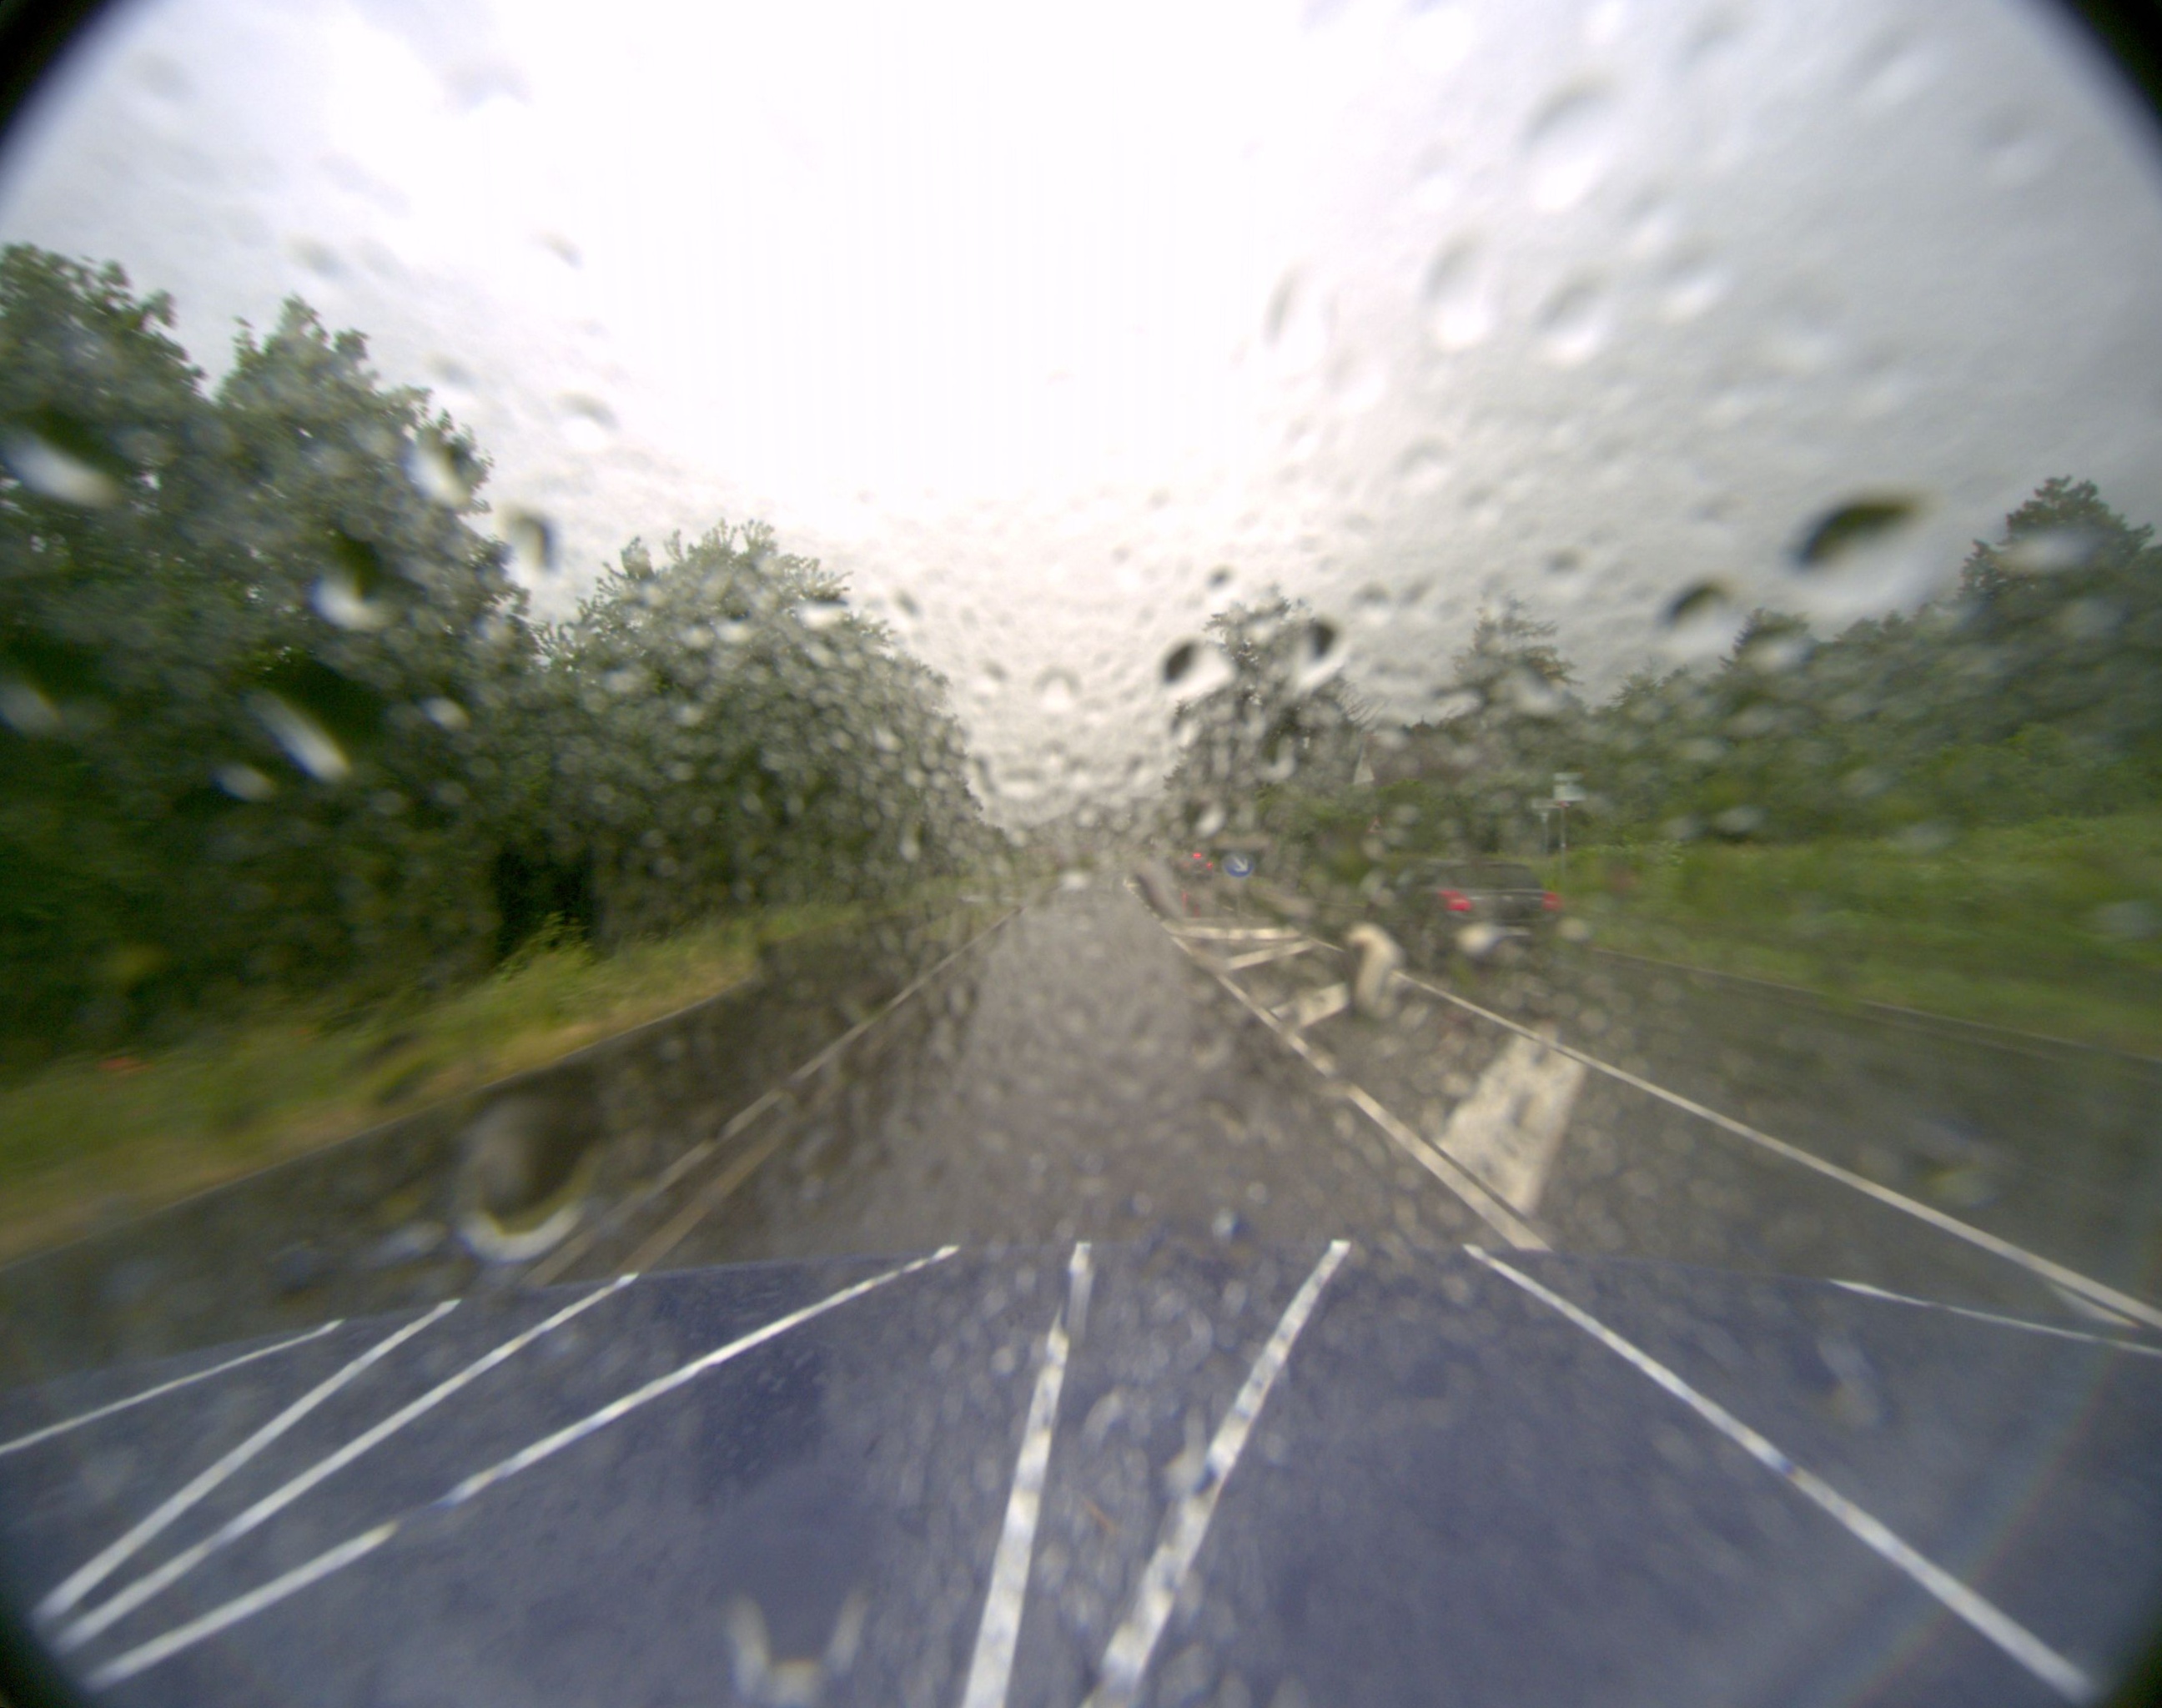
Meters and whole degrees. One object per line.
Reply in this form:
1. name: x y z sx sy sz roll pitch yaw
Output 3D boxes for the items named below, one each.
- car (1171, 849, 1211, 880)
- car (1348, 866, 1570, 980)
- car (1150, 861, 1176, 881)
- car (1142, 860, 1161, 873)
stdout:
1. car: 6.339 0.586 44.261 1.745 1.708 4.267 0 0 1
2. car: 5.651 0.940 11.911 1.701 1.394 3.767 1 0 2
3. car: 6.973 1.436 65.033 1.745 1.437 3.682 -4 0 1
4. car: 8.538 1.494 92.275 1.687 1.374 4.224 -4 0 0
